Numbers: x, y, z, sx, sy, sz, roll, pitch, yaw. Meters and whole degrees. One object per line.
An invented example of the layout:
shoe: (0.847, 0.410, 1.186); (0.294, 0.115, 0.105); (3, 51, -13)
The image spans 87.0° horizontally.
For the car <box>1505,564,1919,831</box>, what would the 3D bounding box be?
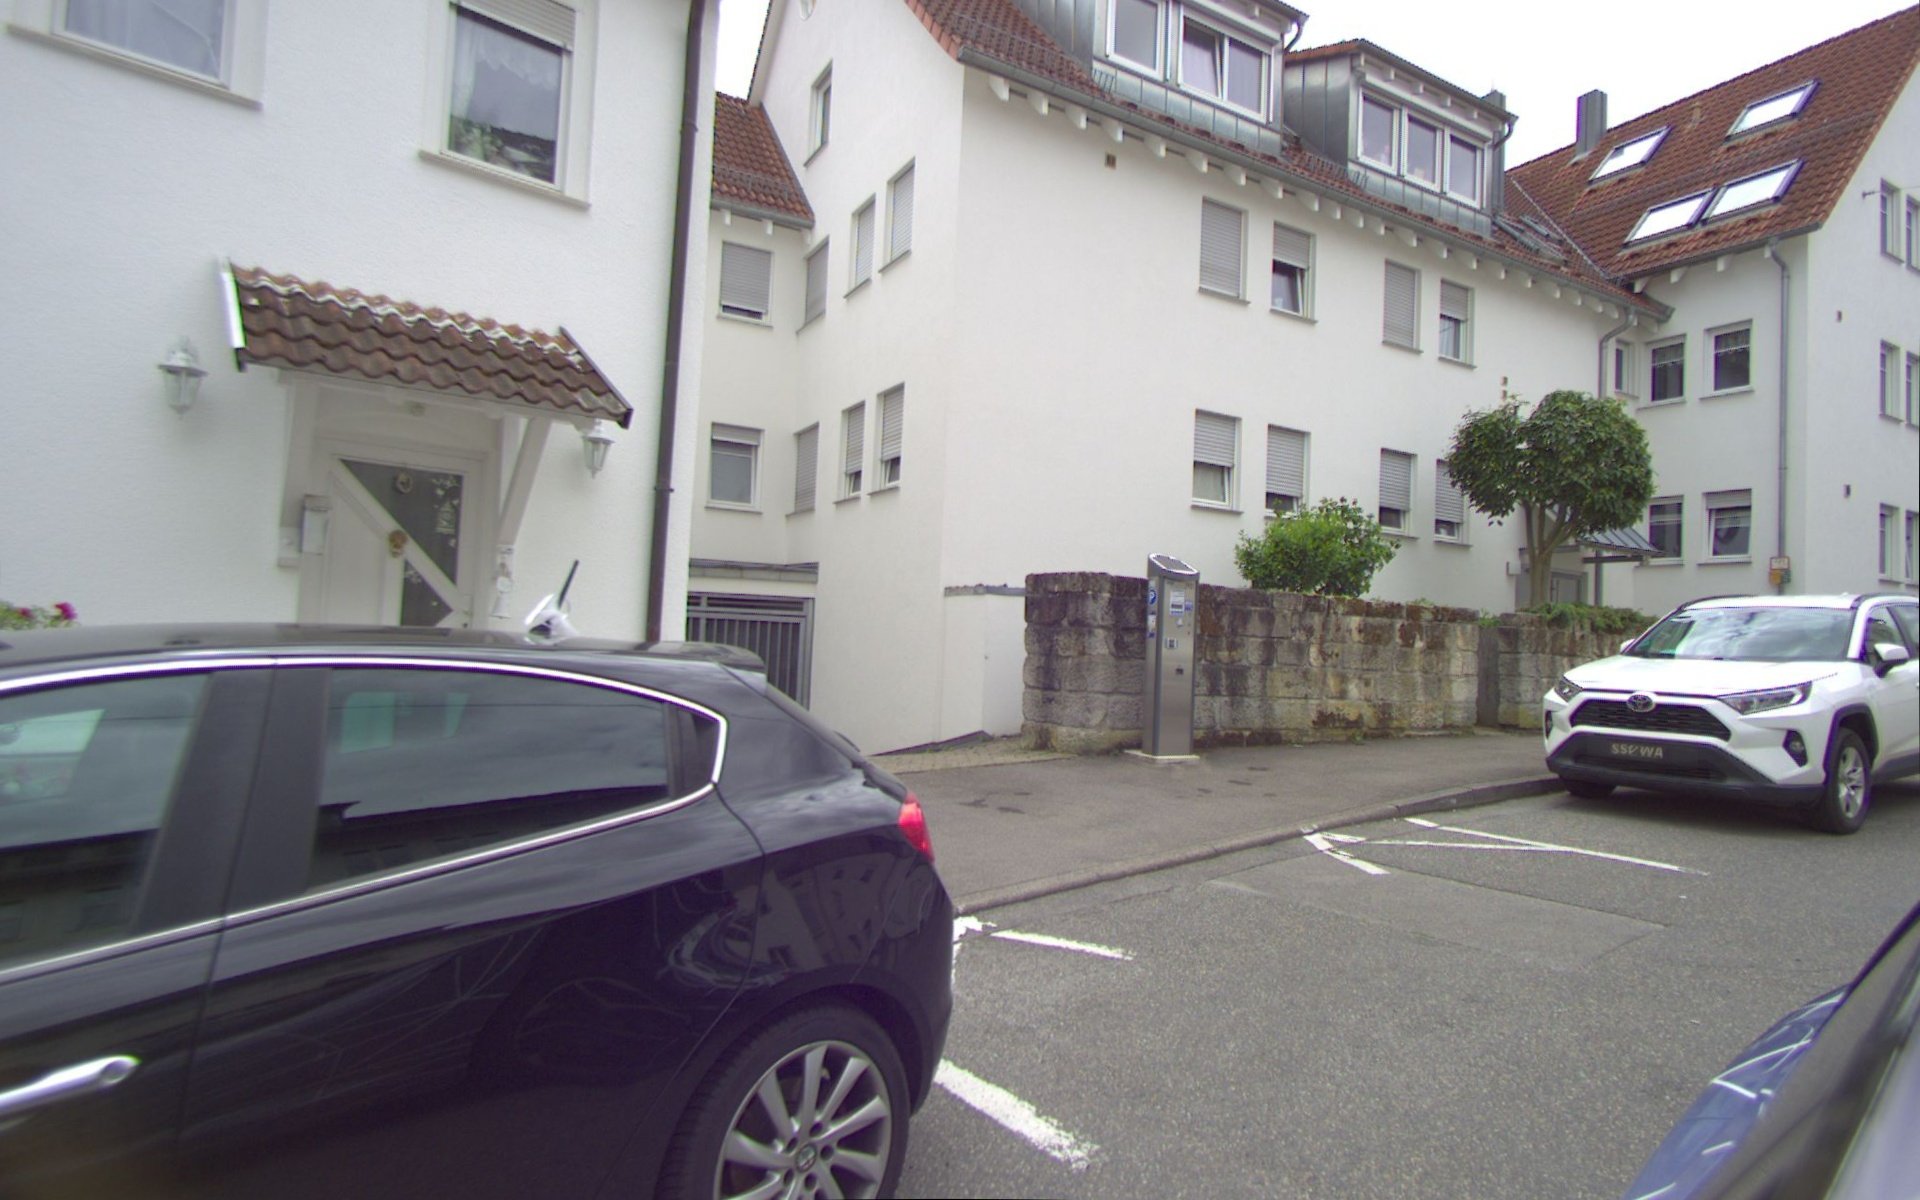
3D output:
car: (6.691, 0.685, 8.276); (4.371, 1.661, 1.953); (2, -3, -31)

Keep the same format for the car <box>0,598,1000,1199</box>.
car: (-1.898, 0.719, 1.750); (3.937, 1.425, 1.719); (0, -1, -45)
